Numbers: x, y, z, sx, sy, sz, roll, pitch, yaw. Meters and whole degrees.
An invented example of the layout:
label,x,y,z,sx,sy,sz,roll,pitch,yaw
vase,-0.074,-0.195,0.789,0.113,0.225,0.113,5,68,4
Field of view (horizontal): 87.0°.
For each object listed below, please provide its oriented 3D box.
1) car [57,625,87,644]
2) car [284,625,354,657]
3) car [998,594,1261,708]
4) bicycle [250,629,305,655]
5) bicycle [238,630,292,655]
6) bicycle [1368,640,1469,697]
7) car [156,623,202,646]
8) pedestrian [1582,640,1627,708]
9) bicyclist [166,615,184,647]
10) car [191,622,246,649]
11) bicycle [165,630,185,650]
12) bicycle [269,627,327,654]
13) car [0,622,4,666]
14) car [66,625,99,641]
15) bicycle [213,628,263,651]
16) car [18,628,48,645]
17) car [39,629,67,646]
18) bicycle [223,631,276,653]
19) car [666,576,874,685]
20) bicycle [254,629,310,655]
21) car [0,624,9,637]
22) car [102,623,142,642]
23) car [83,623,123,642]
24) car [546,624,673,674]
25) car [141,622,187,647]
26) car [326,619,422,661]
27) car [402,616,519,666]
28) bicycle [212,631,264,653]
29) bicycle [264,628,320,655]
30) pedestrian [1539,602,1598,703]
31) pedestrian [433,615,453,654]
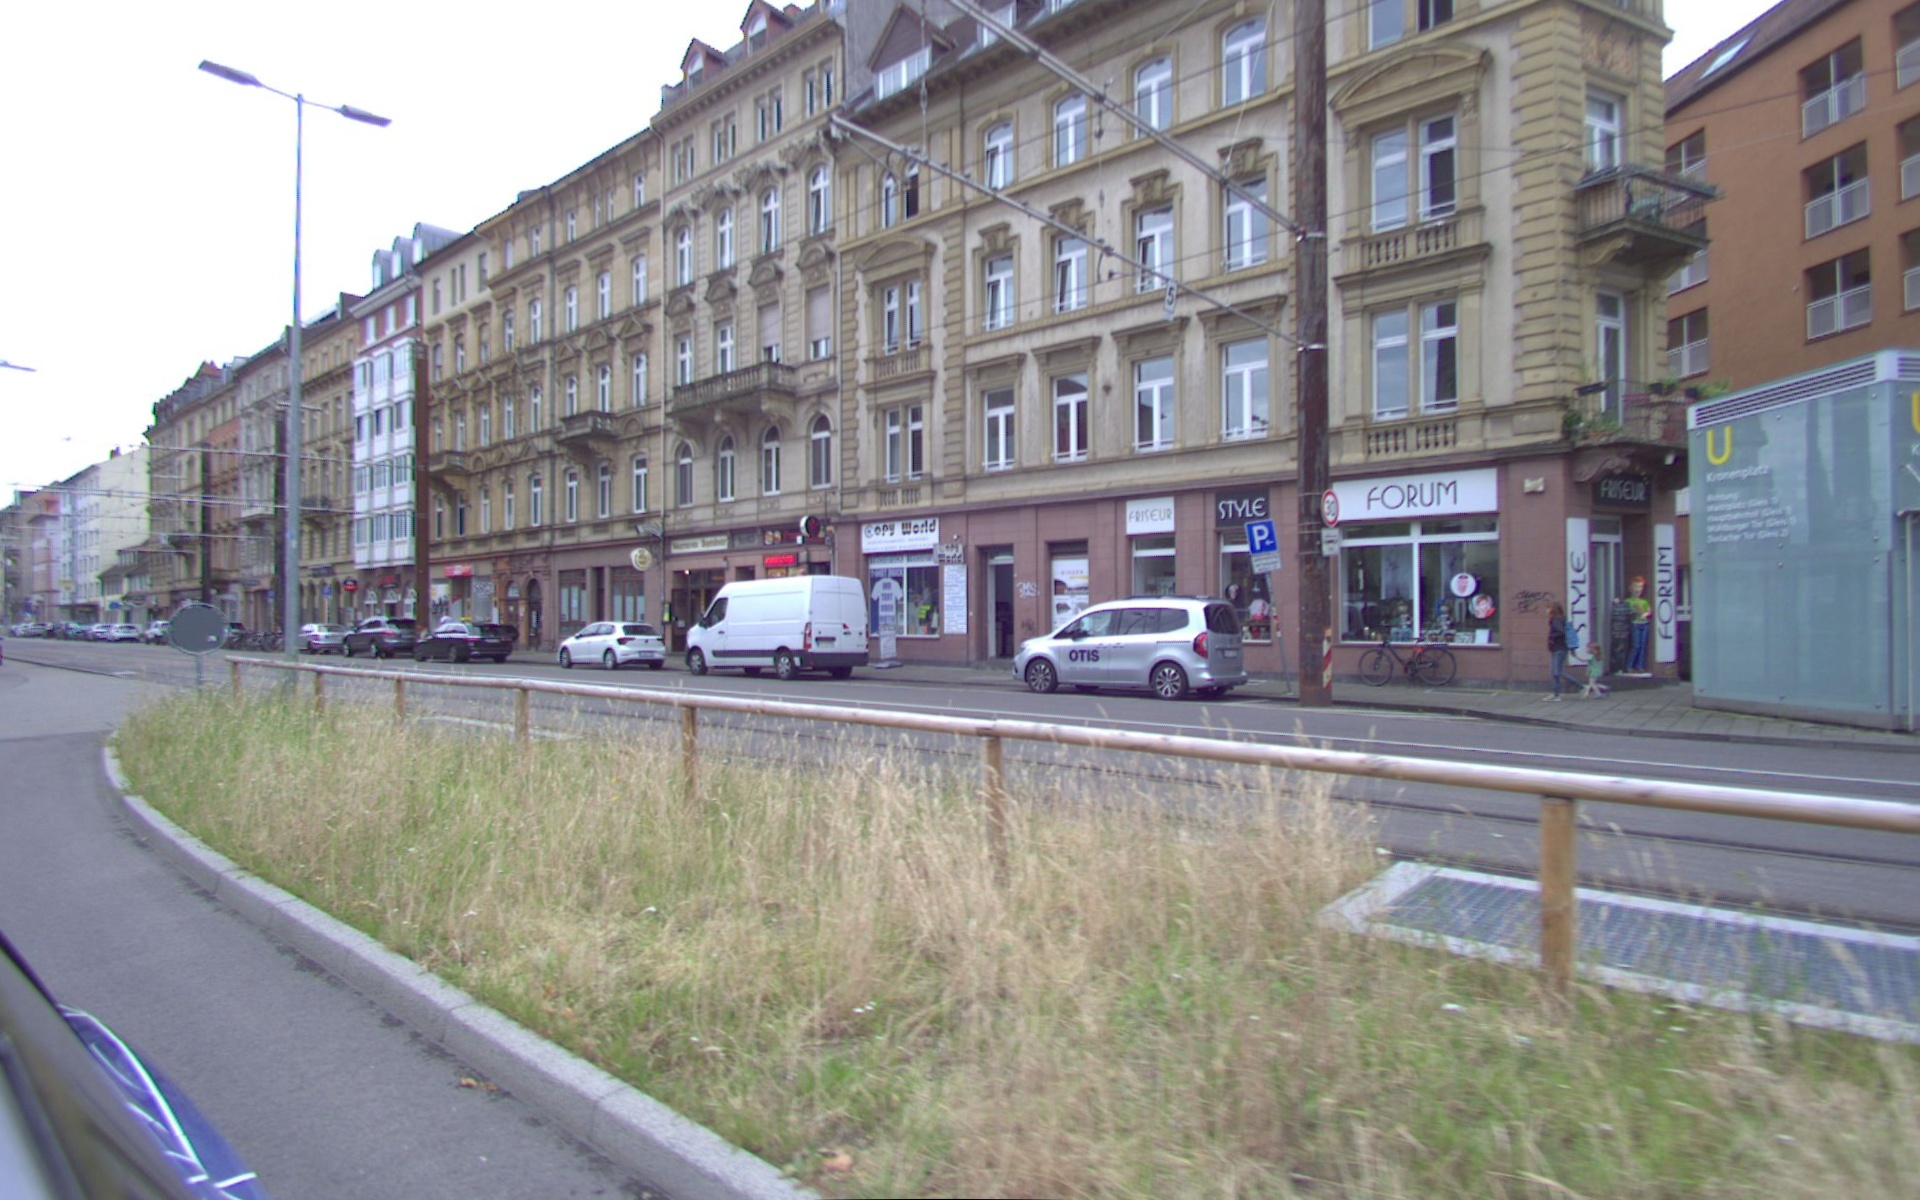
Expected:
label,x,y,z,sx,sy,sz,roll,pitch,yaw
car,-84.320,3.235,96.052,3.919,1.770,1.684,-2,-3,43
car,-30.716,1.947,48.454,3.917,1.500,1.726,-2,-3,40
car,3.067,0.914,18.834,4.516,1.879,1.883,-1,-3,40
bicycle,-35.534,2.181,52.724,0.666,1.339,2.258,-2,-3,41
bicycle,-37.545,2.300,54.711,0.666,1.339,2.258,-2,-3,41
bicycle,8.415,1.238,18.648,0.336,0.966,1.689,-1,0,-42
car,-51.818,2.309,67.127,3.919,1.500,1.725,-2,-3,42
pedestrian,10.371,1.181,16.286,0.547,1.038,0.454,-1,0,-41
bicyclist,-46.368,1.822,59.788,1.028,1.897,0.638,-1,0,43
car,-44.226,2.133,60.337,4.222,1.545,1.726,-2,-3,41
bicycle,-46.363,2.352,59.786,2.044,1.183,0.578,-1,-3,43
bicycle,-32.965,2.022,50.412,0.666,1.339,2.258,-2,-3,41
car,-36.259,1.607,36.805,3.647,1.558,1.725,-1,-1,40
car,-80.649,3.034,92.988,3.431,1.391,1.631,-2,-3,38
bicycle,-41.189,2.255,57.722,0.547,1.212,2.258,-2,-1,41
car,-100.436,3.943,109.641,3.824,1.745,1.904,-1,0,41
car,-91.849,3.766,102.460,4.180,1.684,1.682,-1,0,42
bicycle,-39.640,2.336,56.479,0.704,1.212,2.258,-2,-3,41
car,-4.936,0.802,25.782,5.661,2.506,2.032,-1,-4,40
bicycle,-34.919,2.171,52.169,0.666,1.339,2.258,-2,-3,41
car,-123.676,3.897,129.939,3.998,1.574,1.843,-1,-3,41
car,-66.156,2.593,79.870,4.043,1.476,1.725,-2,-3,41
car,-69.995,2.652,82.632,4.543,1.533,1.805,-2,-3,41
car,-10.789,1.494,31.009,4.161,1.434,1.753,-1,-4,40
car,-55.195,2.404,70.160,4.043,1.685,1.725,-2,-3,41
car,-24.813,1.681,42.764,5.025,1.703,1.796,-2,-3,38
car,-18.230,1.500,36.851,5.047,1.702,1.900,-1,-4,40
bicycle,-40.763,2.394,57.162,0.704,1.212,2.258,-2,-3,41
bicycle,-33.538,2.080,50.851,0.521,1.339,2.258,-2,-3,41
pedestrian,9.714,0.825,16.167,0.547,1.568,0.658,-1,0,-43
pedestrian,-23.867,1.578,46.708,0.644,1.795,0.787,-1,0,-12
